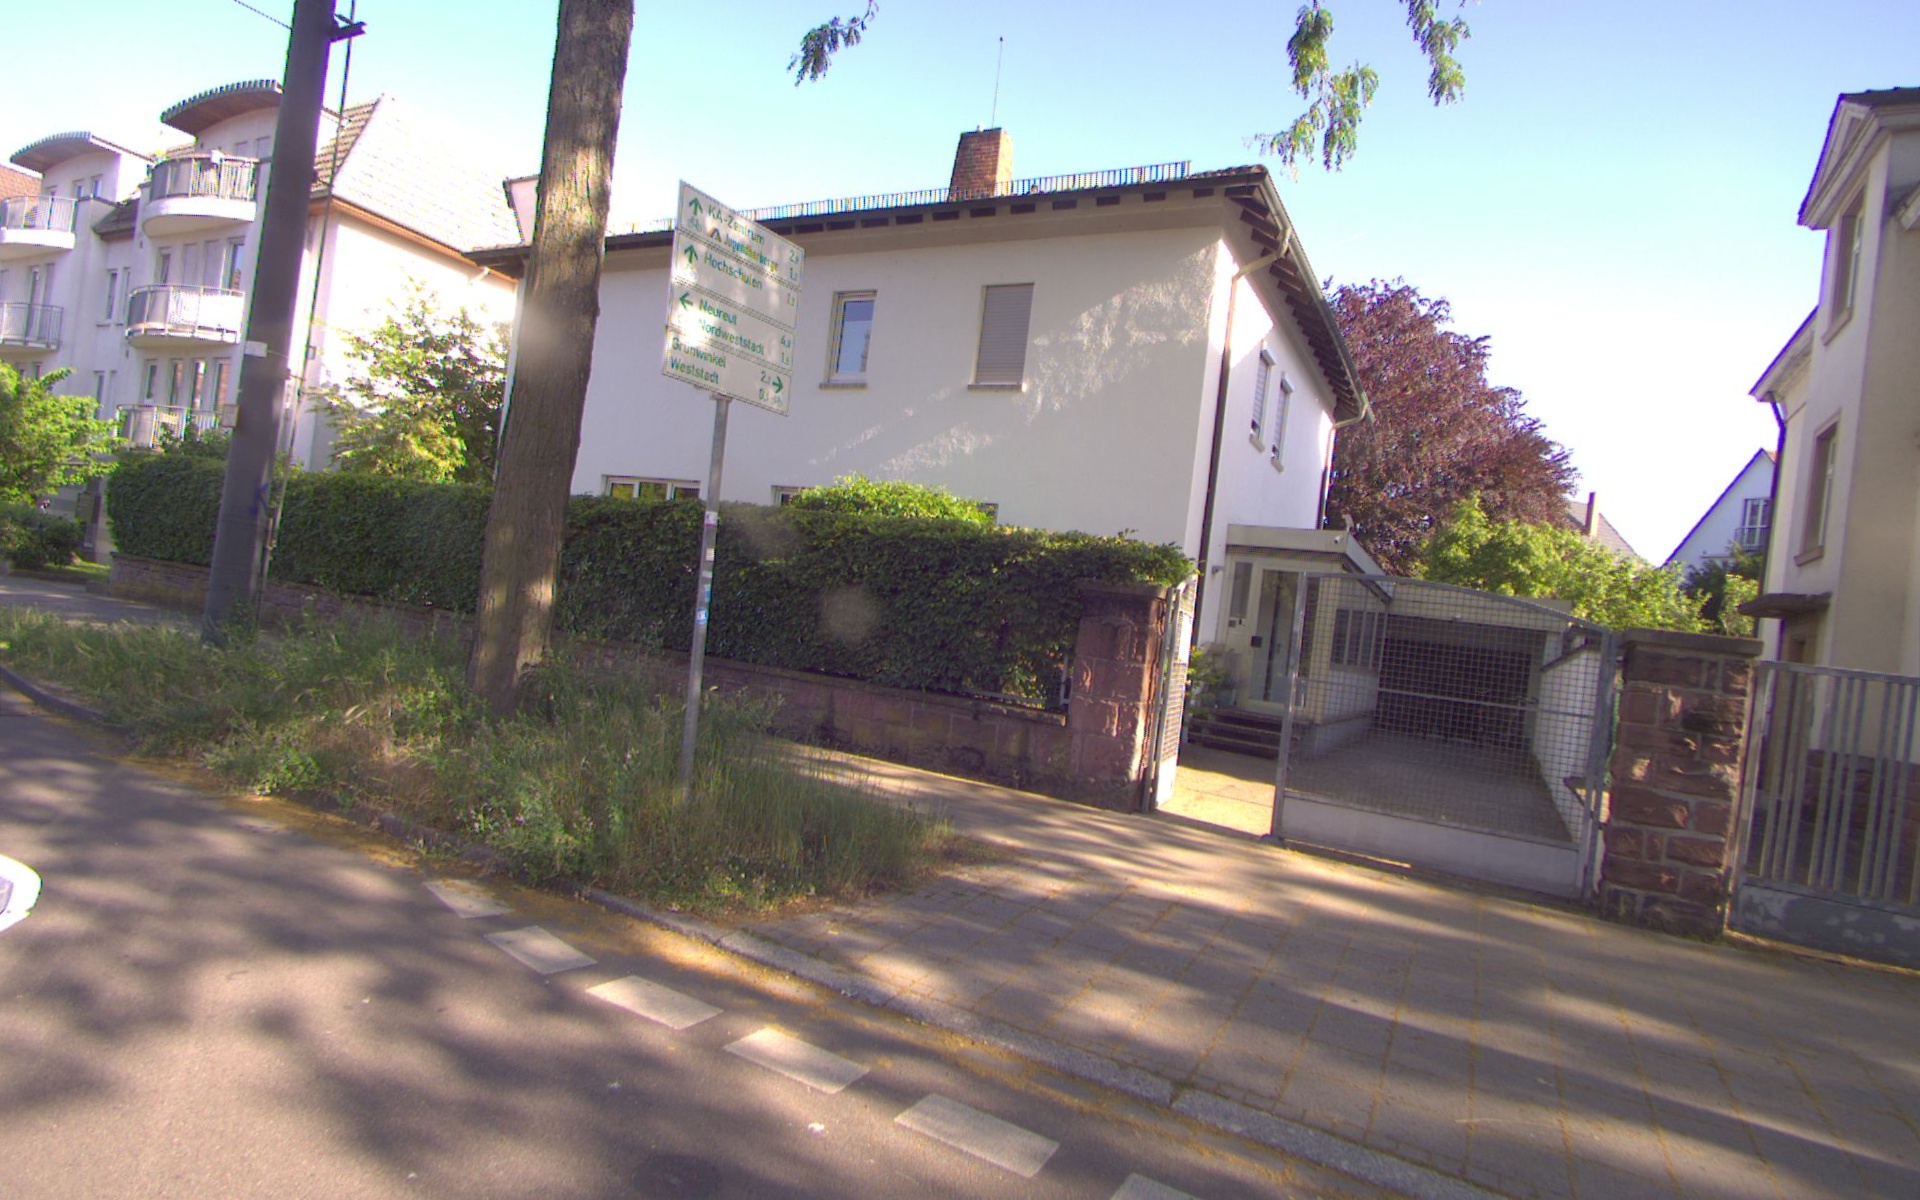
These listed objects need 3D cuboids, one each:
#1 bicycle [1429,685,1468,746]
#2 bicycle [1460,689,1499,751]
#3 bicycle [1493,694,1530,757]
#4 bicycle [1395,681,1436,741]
[{"bbox_3d":[10.003,2.358,20.574,0.512,1.135,1.465,7,-2,30],"label":"bicycle"},{"bbox_3d":[10.479,2.410,20.276,0.512,1.135,1.465,7,-2,30],"label":"bicycle"},{"bbox_3d":[10.925,2.475,19.906,0.512,1.135,1.465,7,-2,30],"label":"bicycle"},{"bbox_3d":[9.492,2.305,20.938,0.512,1.135,1.465,7,-2,30],"label":"bicycle"}]
